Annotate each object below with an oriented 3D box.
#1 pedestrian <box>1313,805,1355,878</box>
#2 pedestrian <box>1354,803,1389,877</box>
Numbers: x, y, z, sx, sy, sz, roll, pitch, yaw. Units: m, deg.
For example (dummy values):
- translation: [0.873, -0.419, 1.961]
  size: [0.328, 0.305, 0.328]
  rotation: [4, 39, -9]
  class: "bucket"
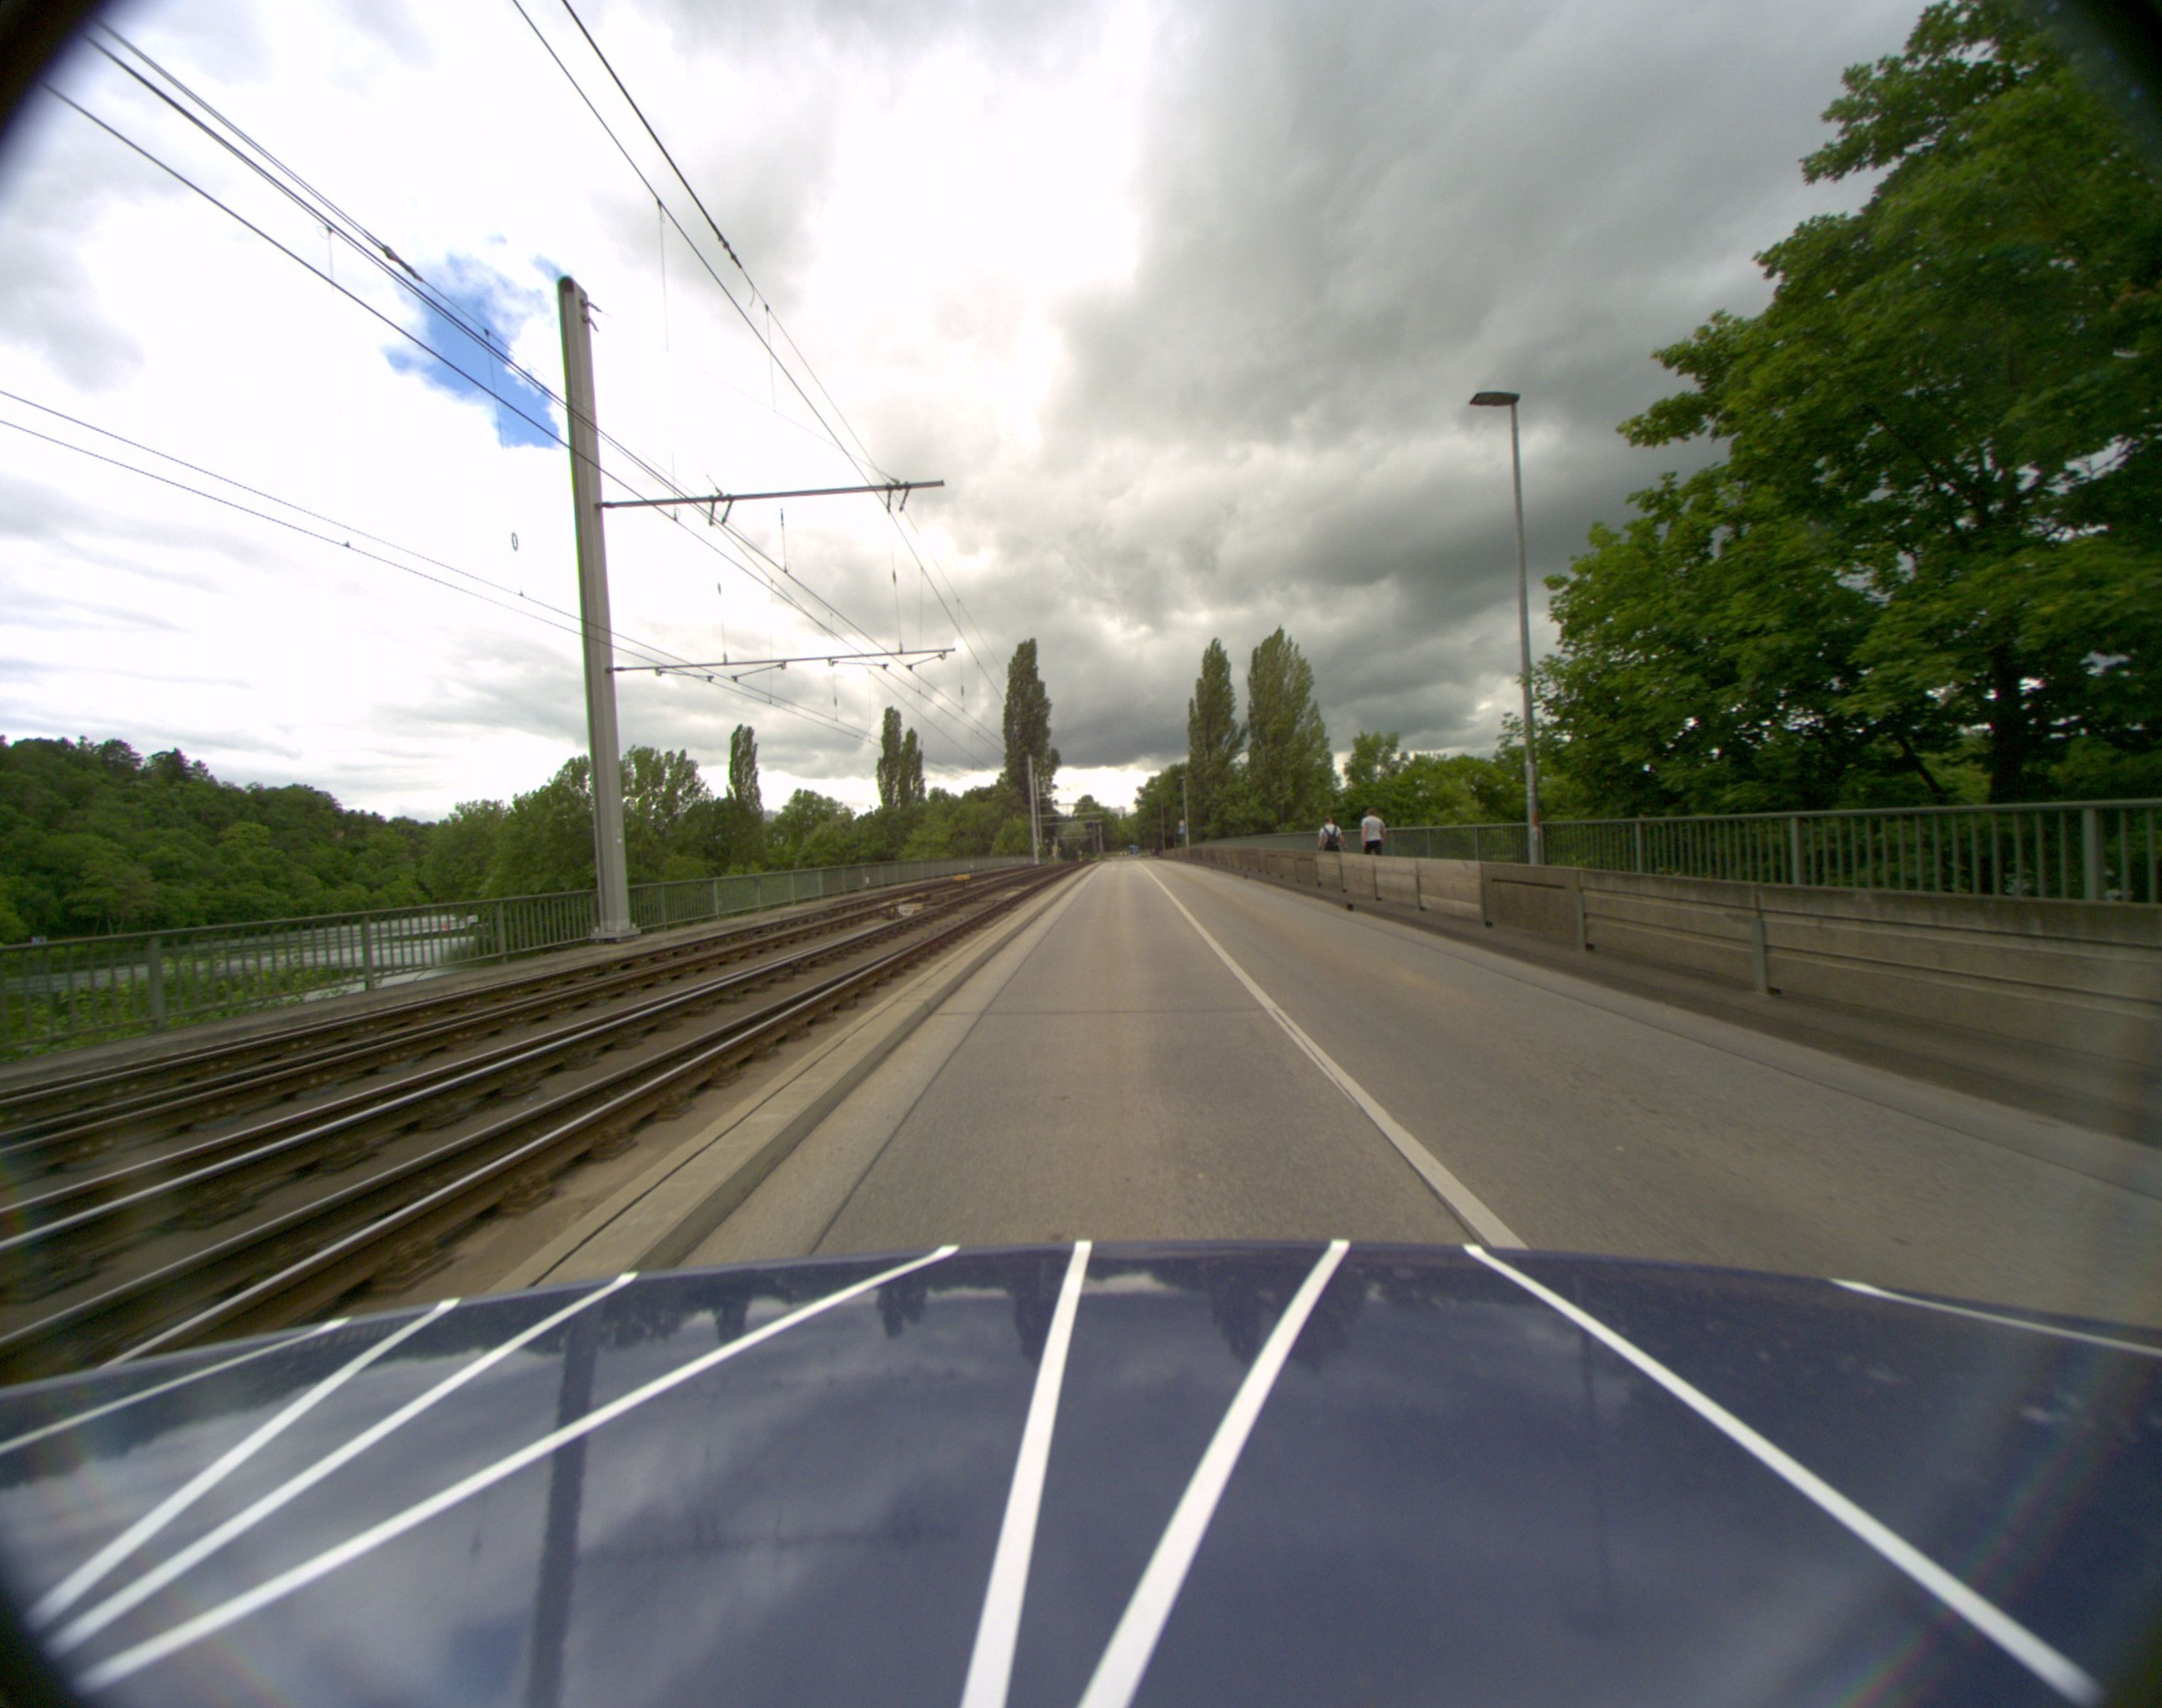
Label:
- translation: [6.602, -0.338, 19.875]
  size: [0.781, 1.817, 0.726]
  rotation: [-4, 2, 5]
  class: "pedestrian"
- translation: [7.416, -0.357, 19.407]
  size: [0.606, 1.817, 0.556]
  rotation: [-4, 2, 5]
  class: "pedestrian"
